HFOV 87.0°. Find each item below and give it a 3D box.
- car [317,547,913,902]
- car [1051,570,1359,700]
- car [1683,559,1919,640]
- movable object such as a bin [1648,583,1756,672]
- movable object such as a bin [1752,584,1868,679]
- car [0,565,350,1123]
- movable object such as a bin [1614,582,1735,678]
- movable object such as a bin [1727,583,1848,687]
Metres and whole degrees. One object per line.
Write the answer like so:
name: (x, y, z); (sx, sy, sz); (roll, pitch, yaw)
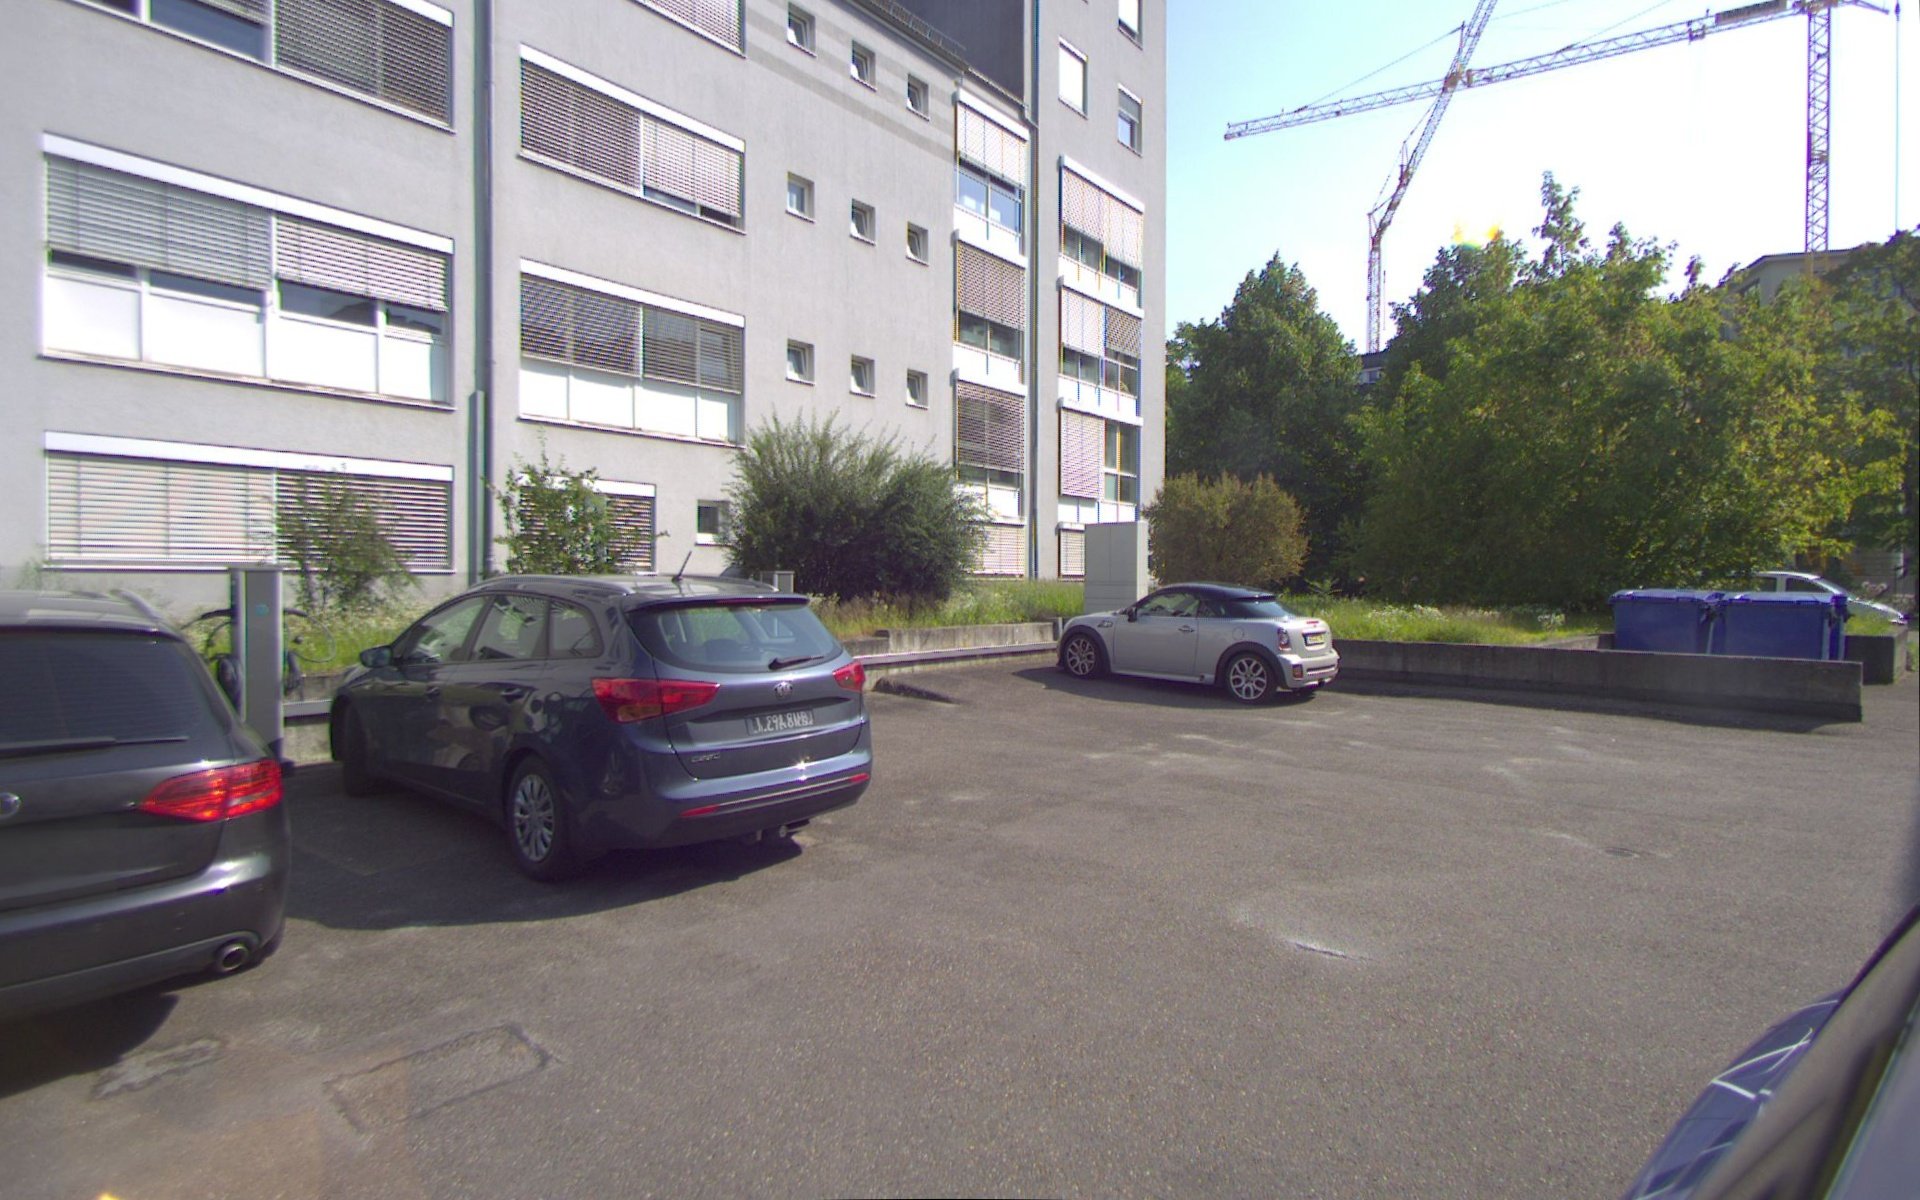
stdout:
car: (-2.334, 0.472, 6.255); (4.043, 1.496, 1.716); (2, 1, 41)
car: (3.087, 0.350, 13.156); (3.570, 1.455, 1.633); (2, 1, 43)
car: (22.369, -0.079, 26.956); (1.876, 1.956, 4.786); (0, 1, -42)
movable object such as a bin: (11.833, 0.396, 16.135); (1.254, 1.344, 1.198); (0, 1, -43)
movable object such as a bin: (12.714, 0.433, 15.134); (1.254, 1.344, 1.198); (0, 1, -43)
car: (-4.028, 0.588, 4.096); (4.233, 1.455, 1.664); (2, 1, 44)
movable object such as a bin: (10.676, 0.409, 15.127); (1.254, 1.344, 1.255); (0, 1, -43)
movable object such as a bin: (11.573, 0.445, 14.149); (1.211, 1.368, 1.255); (1, 1, 44)
